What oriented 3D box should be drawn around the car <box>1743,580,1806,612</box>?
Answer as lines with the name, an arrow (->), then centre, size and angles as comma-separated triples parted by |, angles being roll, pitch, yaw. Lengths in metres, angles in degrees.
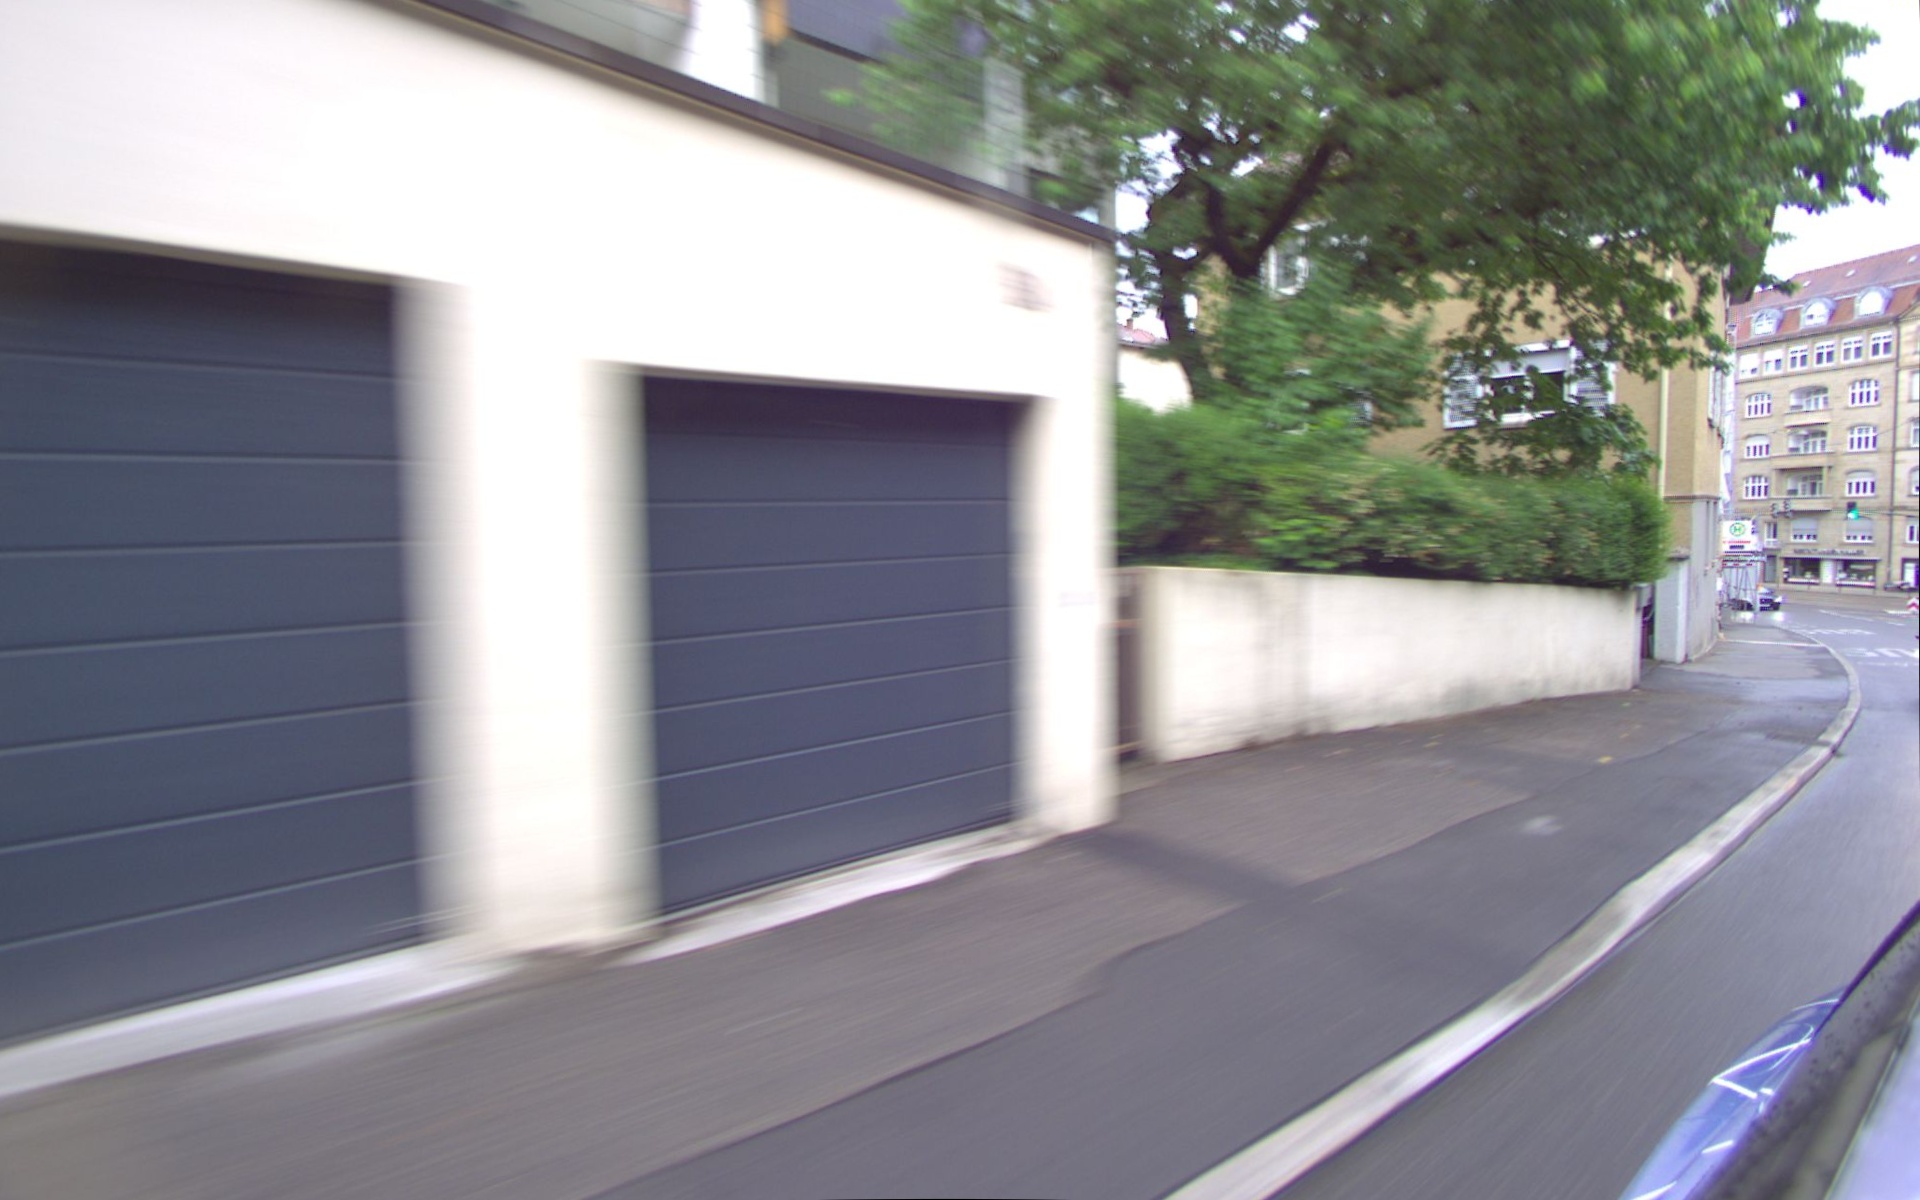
car -> 46.699, -0.251, 58.091 | 1.878, 1.717, 3.966 | -1, 0, 25

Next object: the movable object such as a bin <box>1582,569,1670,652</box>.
movable object such as a bin -> 12.257, 0.191, 18.634 | 1.249, 1.474, 0.814 | 0, -1, 41
